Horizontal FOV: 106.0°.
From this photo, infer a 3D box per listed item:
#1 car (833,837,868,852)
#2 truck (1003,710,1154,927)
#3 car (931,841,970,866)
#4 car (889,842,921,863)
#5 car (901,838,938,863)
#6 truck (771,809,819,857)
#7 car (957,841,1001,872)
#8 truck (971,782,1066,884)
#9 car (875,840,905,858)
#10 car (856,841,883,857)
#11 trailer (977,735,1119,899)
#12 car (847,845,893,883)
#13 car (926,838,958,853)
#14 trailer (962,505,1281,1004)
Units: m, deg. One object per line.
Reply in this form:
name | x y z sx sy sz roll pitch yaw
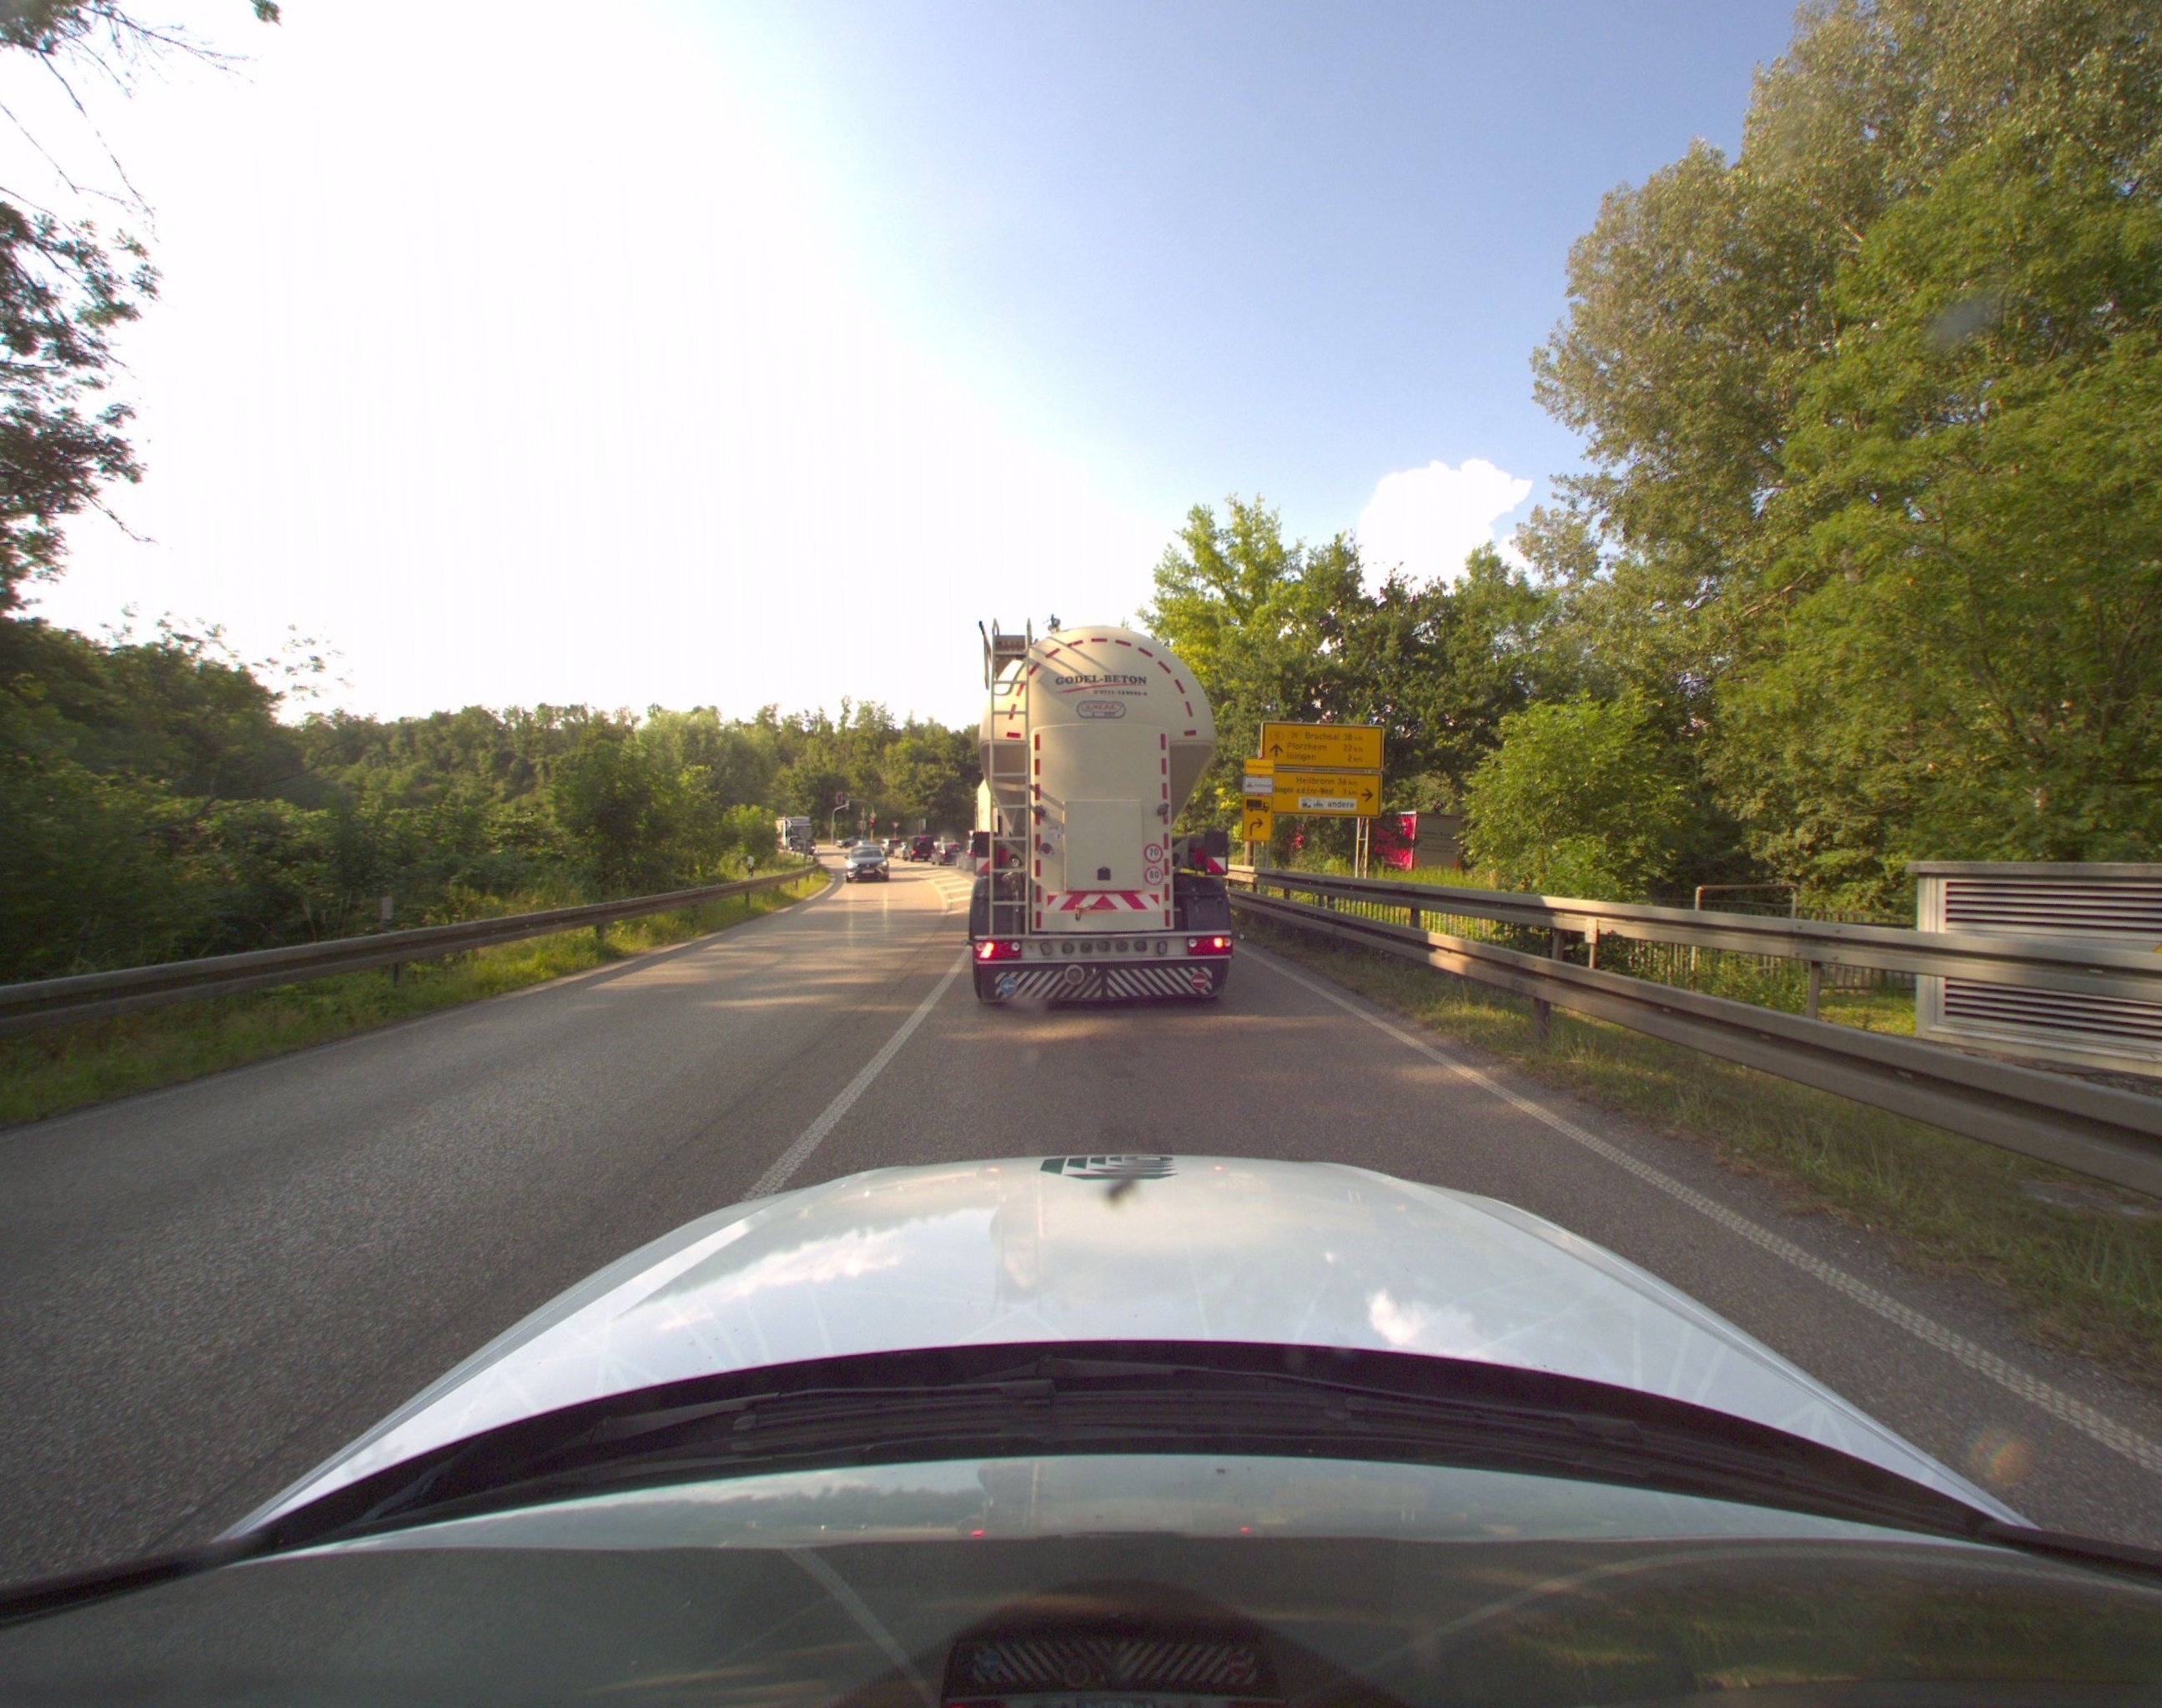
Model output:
car | -30.634 -1.202 108.205 1.850 1.851 4.025 2 0 40
truck | -0.274 -0.681 18.199 2.819 4.035 5.884 0 0 -5
car | -8.803 -0.045 54.556 1.873 1.564 3.974 -2 1 -19
car | -15.370 -0.144 70.864 1.877 1.683 3.967 1 0 -25
car | -12.568 -0.316 63.275 1.966 1.851 3.968 -2 1 -24
truck | -29.544 -2.132 83.778 3.030 4.584 10.147 2 0 -29
car | -5.815 0.107 45.986 1.872 1.628 3.978 -2 1 -16
truck | -2.941 -0.844 36.102 3.452 4.086 6.465 1 0 -11
car | -17.938 -0.514 76.371 1.876 1.595 3.967 2 0 -25
car | -21.862 -0.531 84.123 1.878 1.565 3.965 1 0 -27
trailer | -1.706 -1.011 29.107 3.545 4.513 12.943 1 0 -9
car | -9.439 0.390 36.439 1.871 1.564 3.980 -1 1 -15
car | -20.097 -1.243 117.616 4.019 2.013 1.978 1 0 -38
trailer | 0.137 -0.909 12.159 2.880 4.454 9.595 0 0 -3
